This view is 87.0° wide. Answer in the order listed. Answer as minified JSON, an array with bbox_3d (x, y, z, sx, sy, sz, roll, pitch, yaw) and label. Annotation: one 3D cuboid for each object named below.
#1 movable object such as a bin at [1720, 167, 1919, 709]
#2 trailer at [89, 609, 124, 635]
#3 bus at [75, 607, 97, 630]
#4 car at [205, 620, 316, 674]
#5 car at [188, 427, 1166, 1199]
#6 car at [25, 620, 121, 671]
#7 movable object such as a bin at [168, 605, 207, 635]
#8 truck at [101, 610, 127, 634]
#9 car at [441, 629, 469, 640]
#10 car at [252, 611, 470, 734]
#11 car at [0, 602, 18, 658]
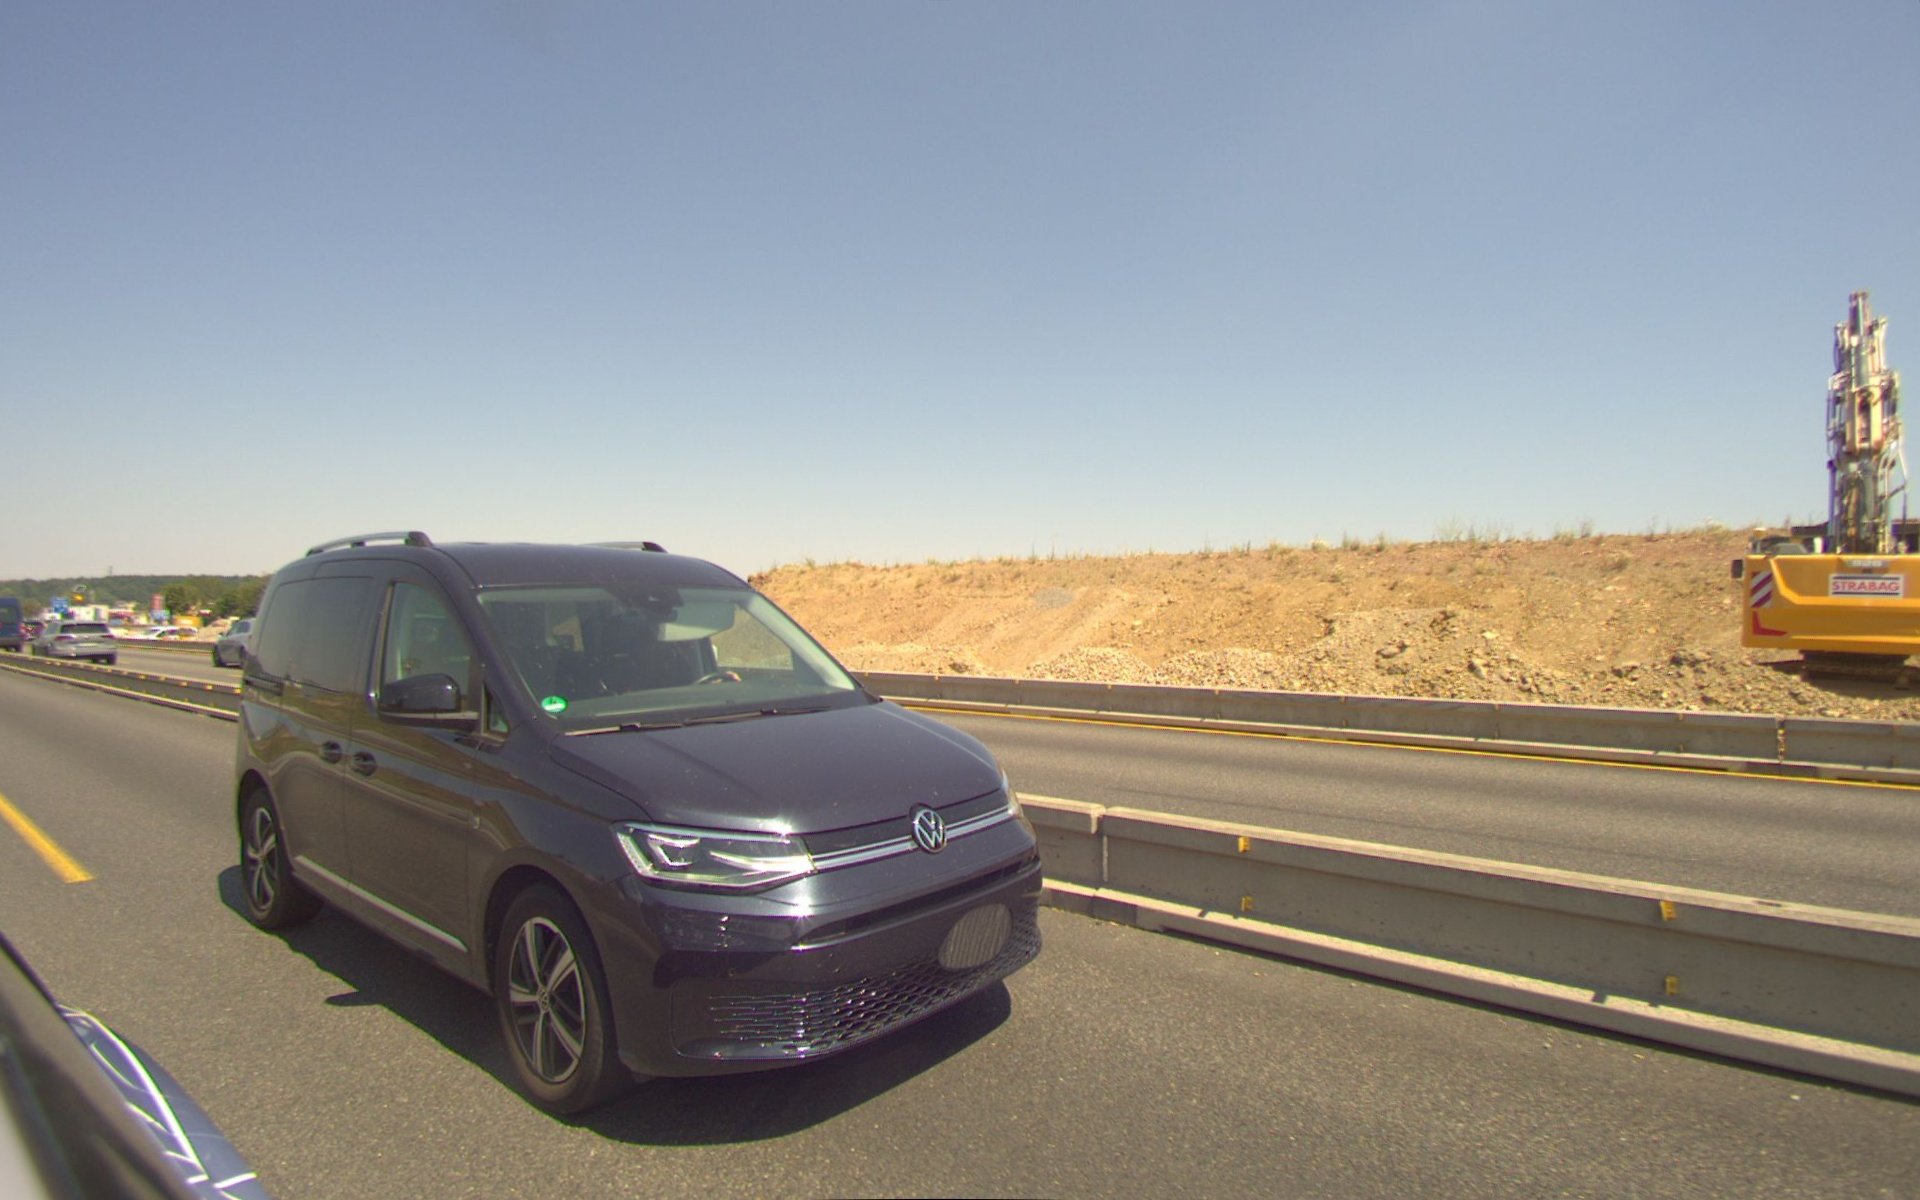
[{"bbox_3d":[15.905,-2.269,17.614,3.445,7.772,7.554,-2,-2,42],"label":"movable object such as a bin"},{"bbox_3d":[-141.852,3.675,168.336,2.722,4.146,14.015,1,-2,-33],"label":"trailer"},{"bbox_3d":[-125.411,2.648,145.199,2.320,3.149,7.238,1,-2,-41],"label":"bus"},{"bbox_3d":[-20.766,1.348,29.971,4.446,1.444,1.673,-1,-1,41],"label":"car"},{"bbox_3d":[-1.626,0.565,4.410,4.601,1.803,1.901,-1,-1,41],"label":"car"},{"bbox_3d":[-28.909,1.440,32.938,4.522,1.487,1.768,-1,-1,41],"label":"car"},{"bbox_3d":[-116.613,3.017,152.863,2.882,4.362,9.356,0,-2,-26],"label":"movable object such as a bin"},{"bbox_3d":[-145.726,3.816,174.362,2.664,4.093,5.516,1,-2,-32],"label":"truck"},{"bbox_3d":[-65.782,4.492,131.827,4.441,1.420,1.596,-1,-2,39],"label":"car"},{"bbox_3d":[-9.030,0.987,15.111,4.165,1.592,1.586,-2,-2,41],"label":"car"},{"bbox_3d":[-44.884,1.369,46.388,5.355,2.487,1.935,-2,-2,41],"label":"car"}]
